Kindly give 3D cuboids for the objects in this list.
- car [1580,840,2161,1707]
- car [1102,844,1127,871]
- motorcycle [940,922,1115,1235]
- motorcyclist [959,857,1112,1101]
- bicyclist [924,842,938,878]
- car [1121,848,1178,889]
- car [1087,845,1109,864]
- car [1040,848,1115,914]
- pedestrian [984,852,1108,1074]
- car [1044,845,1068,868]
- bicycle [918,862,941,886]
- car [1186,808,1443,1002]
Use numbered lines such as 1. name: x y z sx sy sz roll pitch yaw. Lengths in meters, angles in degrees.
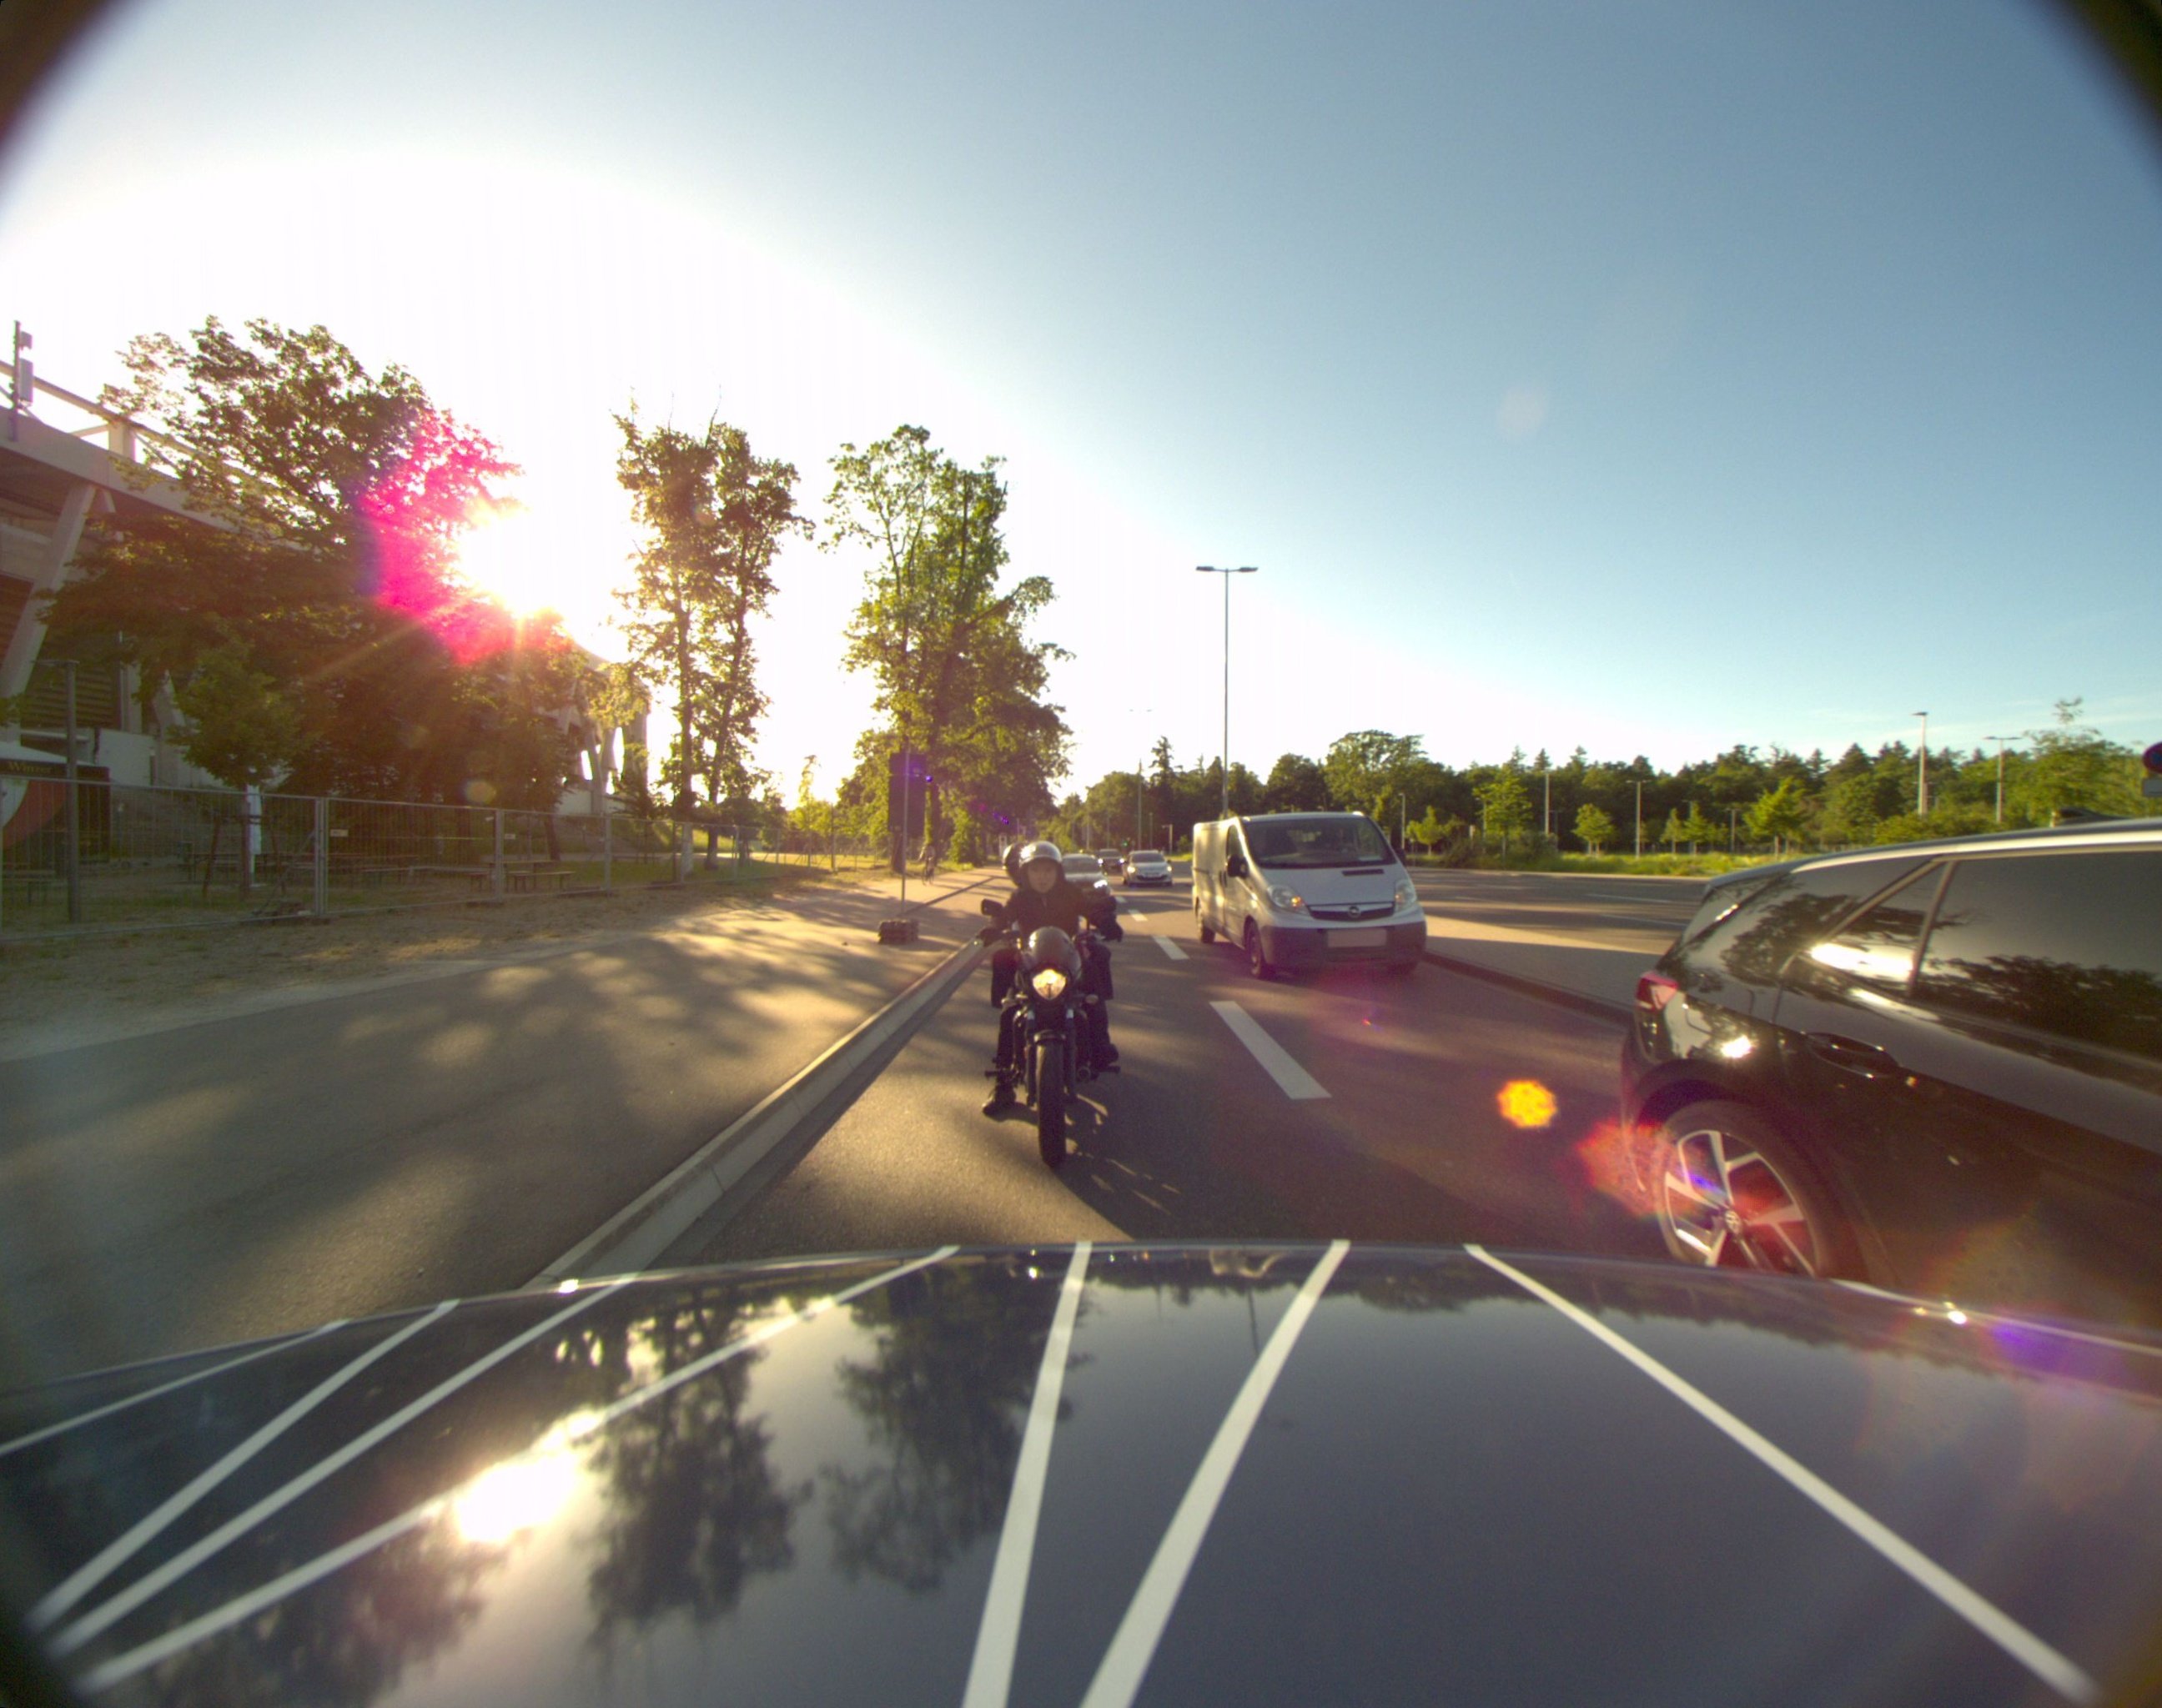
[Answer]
1. car: 2.666 0.784 0.594 1.883 1.528 3.999 -2 1 0
2. car: 2.311 0.208 53.069 1.638 1.674 3.999 -2 1 1
3. motorcycle: -0.212 1.091 4.639 0.717 1.058 2.721 -2 1 1
4. motorcyclist: -0.254 0.723 4.593 0.822 1.367 0.476 -2 2 1
5. bicyclist: -5.901 0.241 29.871 0.451 1.412 0.575 0 1 1
6. car: 2.811 0.569 32.326 1.883 1.515 5.048 -2 0 0
7. car: 1.600 0.053 72.640 1.883 1.629 5.048 -2 0 0
8. car: -0.097 0.693 22.194 1.883 1.629 5.048 -2 0 0
9. pedestrian: -0.217 0.700 5.102 0.739 1.387 0.500 -2 2 1
10. car: -2.093 0.199 64.733 1.774 1.849 3.999 -2 1 1
11. bicycle: -5.909 0.761 29.731 0.481 0.854 1.909 0 1 1
12. car: 2.775 0.523 10.415 1.883 1.951 5.048 -2 0 0
